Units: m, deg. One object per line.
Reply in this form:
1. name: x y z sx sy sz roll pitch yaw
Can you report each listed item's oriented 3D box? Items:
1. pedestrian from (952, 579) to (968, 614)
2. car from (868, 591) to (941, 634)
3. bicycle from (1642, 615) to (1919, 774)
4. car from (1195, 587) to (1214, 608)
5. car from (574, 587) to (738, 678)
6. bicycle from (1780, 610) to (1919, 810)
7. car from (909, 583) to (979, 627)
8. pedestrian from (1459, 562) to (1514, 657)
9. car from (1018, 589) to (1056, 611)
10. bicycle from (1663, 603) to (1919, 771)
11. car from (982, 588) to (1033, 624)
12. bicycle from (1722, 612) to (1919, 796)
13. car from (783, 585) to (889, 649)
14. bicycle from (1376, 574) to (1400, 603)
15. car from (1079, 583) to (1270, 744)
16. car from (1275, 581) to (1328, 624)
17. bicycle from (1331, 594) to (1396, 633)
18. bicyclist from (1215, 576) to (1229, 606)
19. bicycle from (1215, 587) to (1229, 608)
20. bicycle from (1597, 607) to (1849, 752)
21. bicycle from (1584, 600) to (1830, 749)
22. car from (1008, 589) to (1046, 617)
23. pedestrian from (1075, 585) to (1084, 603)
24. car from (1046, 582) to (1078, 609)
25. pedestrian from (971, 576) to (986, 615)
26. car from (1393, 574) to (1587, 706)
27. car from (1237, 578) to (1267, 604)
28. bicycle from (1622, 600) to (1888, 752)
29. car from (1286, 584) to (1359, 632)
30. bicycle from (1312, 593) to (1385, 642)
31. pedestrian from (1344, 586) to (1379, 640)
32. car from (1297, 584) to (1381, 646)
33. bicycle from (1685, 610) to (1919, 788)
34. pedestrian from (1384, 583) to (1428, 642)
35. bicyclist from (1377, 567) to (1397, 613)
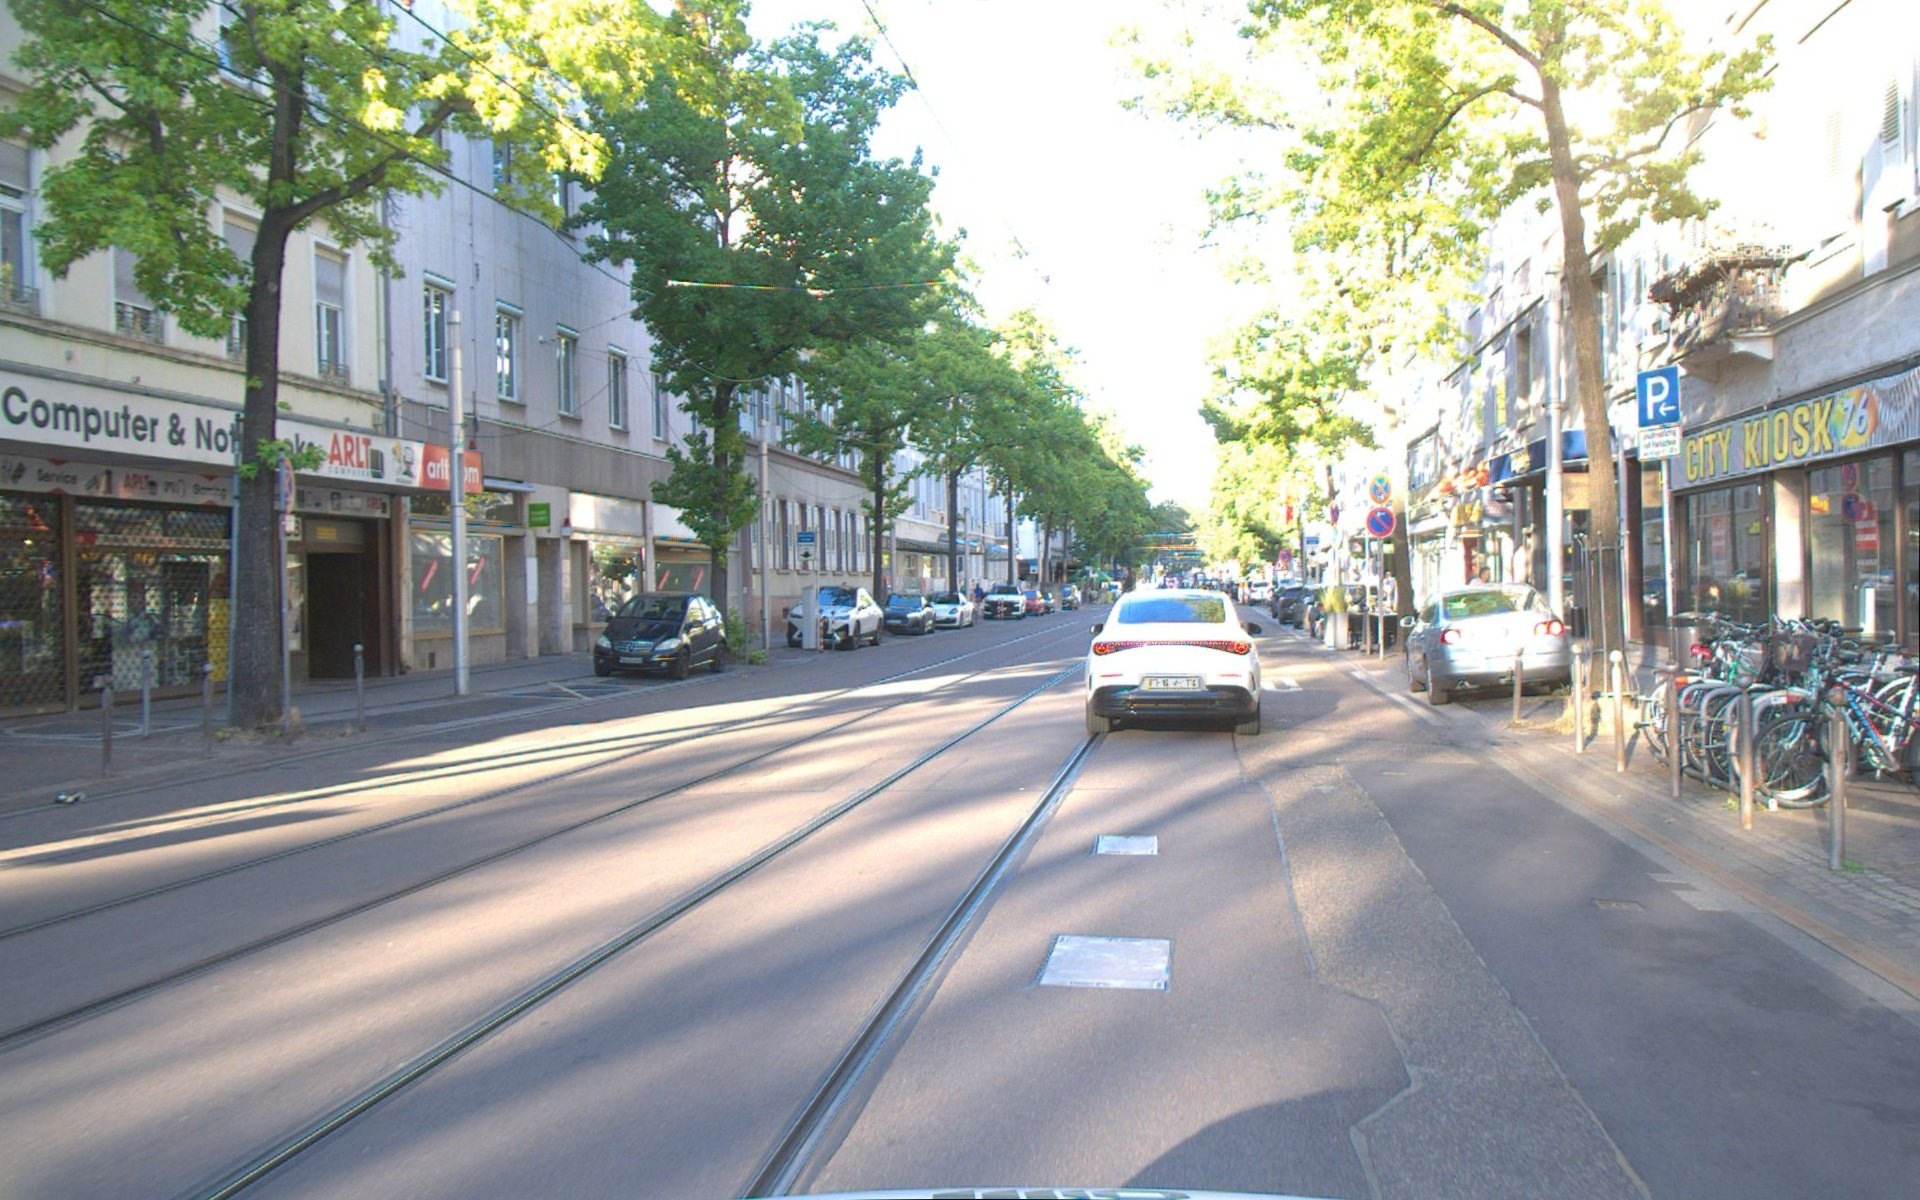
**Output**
1. pedestrian: -0.008 -0.185 89.486 0.692 1.838 0.676 -2 0 8
2. car: -1.921 0.421 58.503 1.920 1.437 4.850 -1 0 6
3. bicycle: 6.294 0.721 12.726 1.826 1.175 0.563 -1 0 10
4. car: 30.840 -0.292 208.818 1.952 2.586 4.002 -1 0 4
5. car: -5.956 0.606 32.875 1.920 1.668 4.004 -1 0 10
6. bicycle: 5.841 0.648 9.916 0.455 1.175 1.664 -1 0 -31
7. car: -0.600 0.178 66.353 1.905 1.668 4.913 -1 0 10
8. pedestrian: 9.592 0.173 30.164 0.786 1.671 0.756 -2 0 9
9. car: 4.816 -0.028 103.173 1.951 1.314 4.003 -1 0 8
10. bicycle: 6.183 0.629 12.076 1.826 1.175 0.563 -1 0 10
11. car: 2.449 0.279 84.273 1.920 1.721 5.017 -1 0 10
12. bicycle: 6.037 0.676 10.860 1.826 1.175 0.348 -1 0 10
13. car: -3.484 0.441 47.275 1.920 1.668 4.816 1 1 9
14. bicycle: 16.384 -0.442 63.357 0.634 1.093 1.863 -2 0 7
15. car: 2.395 0.593 18.078 1.828 1.494 4.046 1 1 9
16. car: 13.096 0.075 63.547 1.831 1.478 4.110 -4 0 10
17. bicycle: 12.450 0.415 51.071 1.818 1.093 0.712 -2 0 -1
18. bicyclist: 15.312 -0.535 96.668 0.709 1.732 0.812 -1 0 9
19. bicycle: 15.292 -0.150 96.488 0.724 1.209 2.162 -2 0 9
20. bicycle: 6.401 0.666 13.955 1.826 1.175 0.563 -1 0 10
21. bicycle: 6.560 0.653 14.602 1.826 1.174 0.563 -4 -1 10
22. car: 3.851 0.164 94.300 1.652 1.525 4.238 -1 0 10
23. pedestrian: 10.529 -0.518 145.236 0.558 1.489 0.649 -1 0 28
24. car: 7.165 -0.352 116.121 1.520 1.827 3.169 -2 0 17
25. pedestrian: 1.015 -0.241 89.254 0.692 2.039 0.676 -2 0 6
26. car: 6.981 0.486 22.221 1.738 1.465 4.426 -4 -1 9
27. car: 20.799 -0.646 117.770 1.951 1.758 4.244 -2 0 9
28. bicycle: 6.382 0.608 13.348 1.826 1.175 0.563 -1 0 10
29. car: 12.181 0.249 55.728 1.776 1.512 4.002 -1 0 4
30. bicycle: 10.017 0.458 42.696 1.694 1.158 0.546 -4 -1 30
31. pedestrian: 9.908 0.316 40.831 0.800 1.287 0.587 -2 0 14
32. car: 10.673 0.397 46.792 1.763 1.483 3.657 7 1 6
33. bicycle: 6.040 0.671 11.377 1.826 1.175 0.563 -1 0 10
34. pedestrian: 10.955 0.298 40.620 0.699 1.411 0.740 -2 0 -29
35. bicyclist: 16.391 -0.382 63.493 0.625 1.713 0.600 -2 0 7
